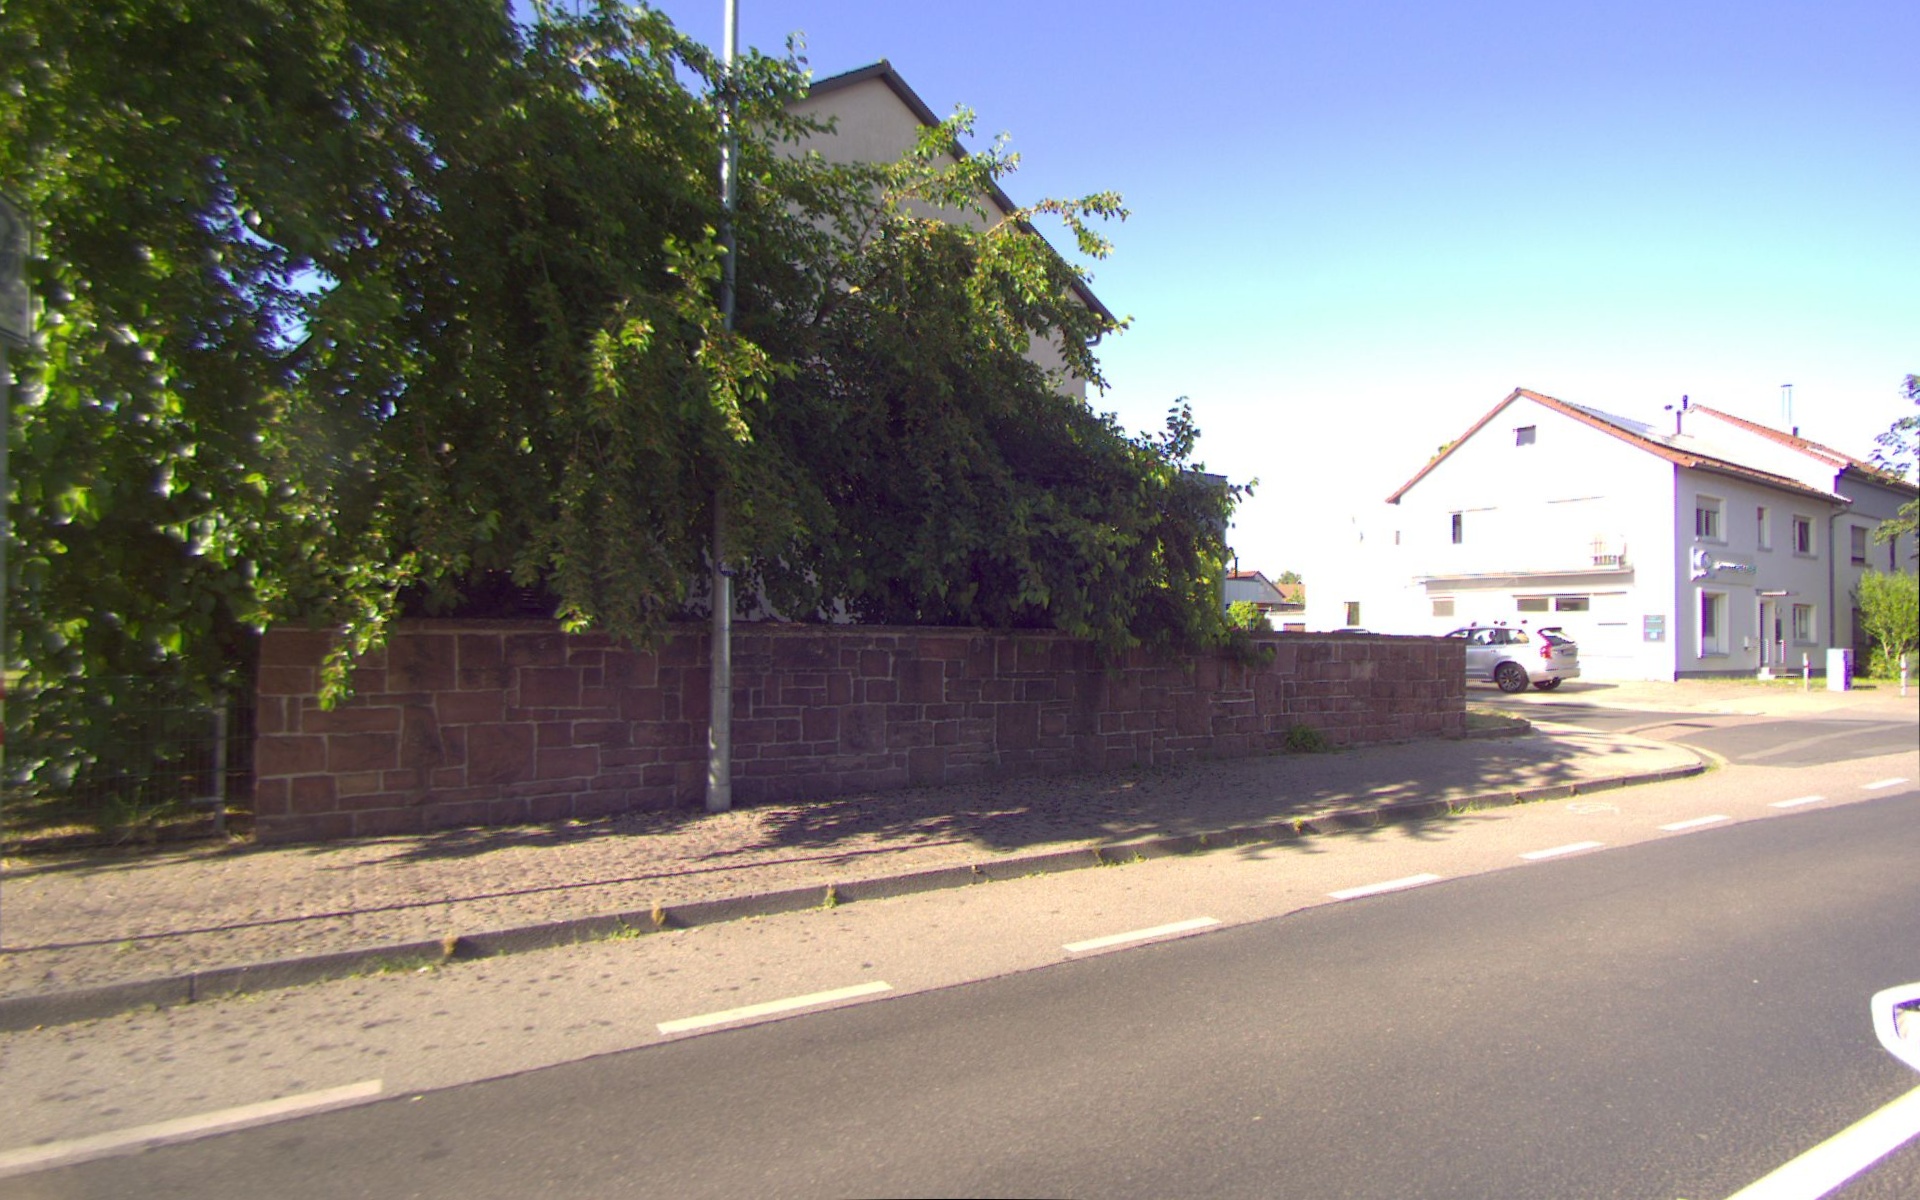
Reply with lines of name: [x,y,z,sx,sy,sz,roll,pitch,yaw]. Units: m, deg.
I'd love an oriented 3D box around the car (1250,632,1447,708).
car: [8.561,1.485,22.405,1.849,1.498,3.747,0,-1,-32]

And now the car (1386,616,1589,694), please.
car: [14.198,1.424,27.286,1.978,1.862,4.464,-2,0,-32]

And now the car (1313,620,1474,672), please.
car: [14.178,1.547,33.114,1.980,1.575,4.472,1,-4,-36]
